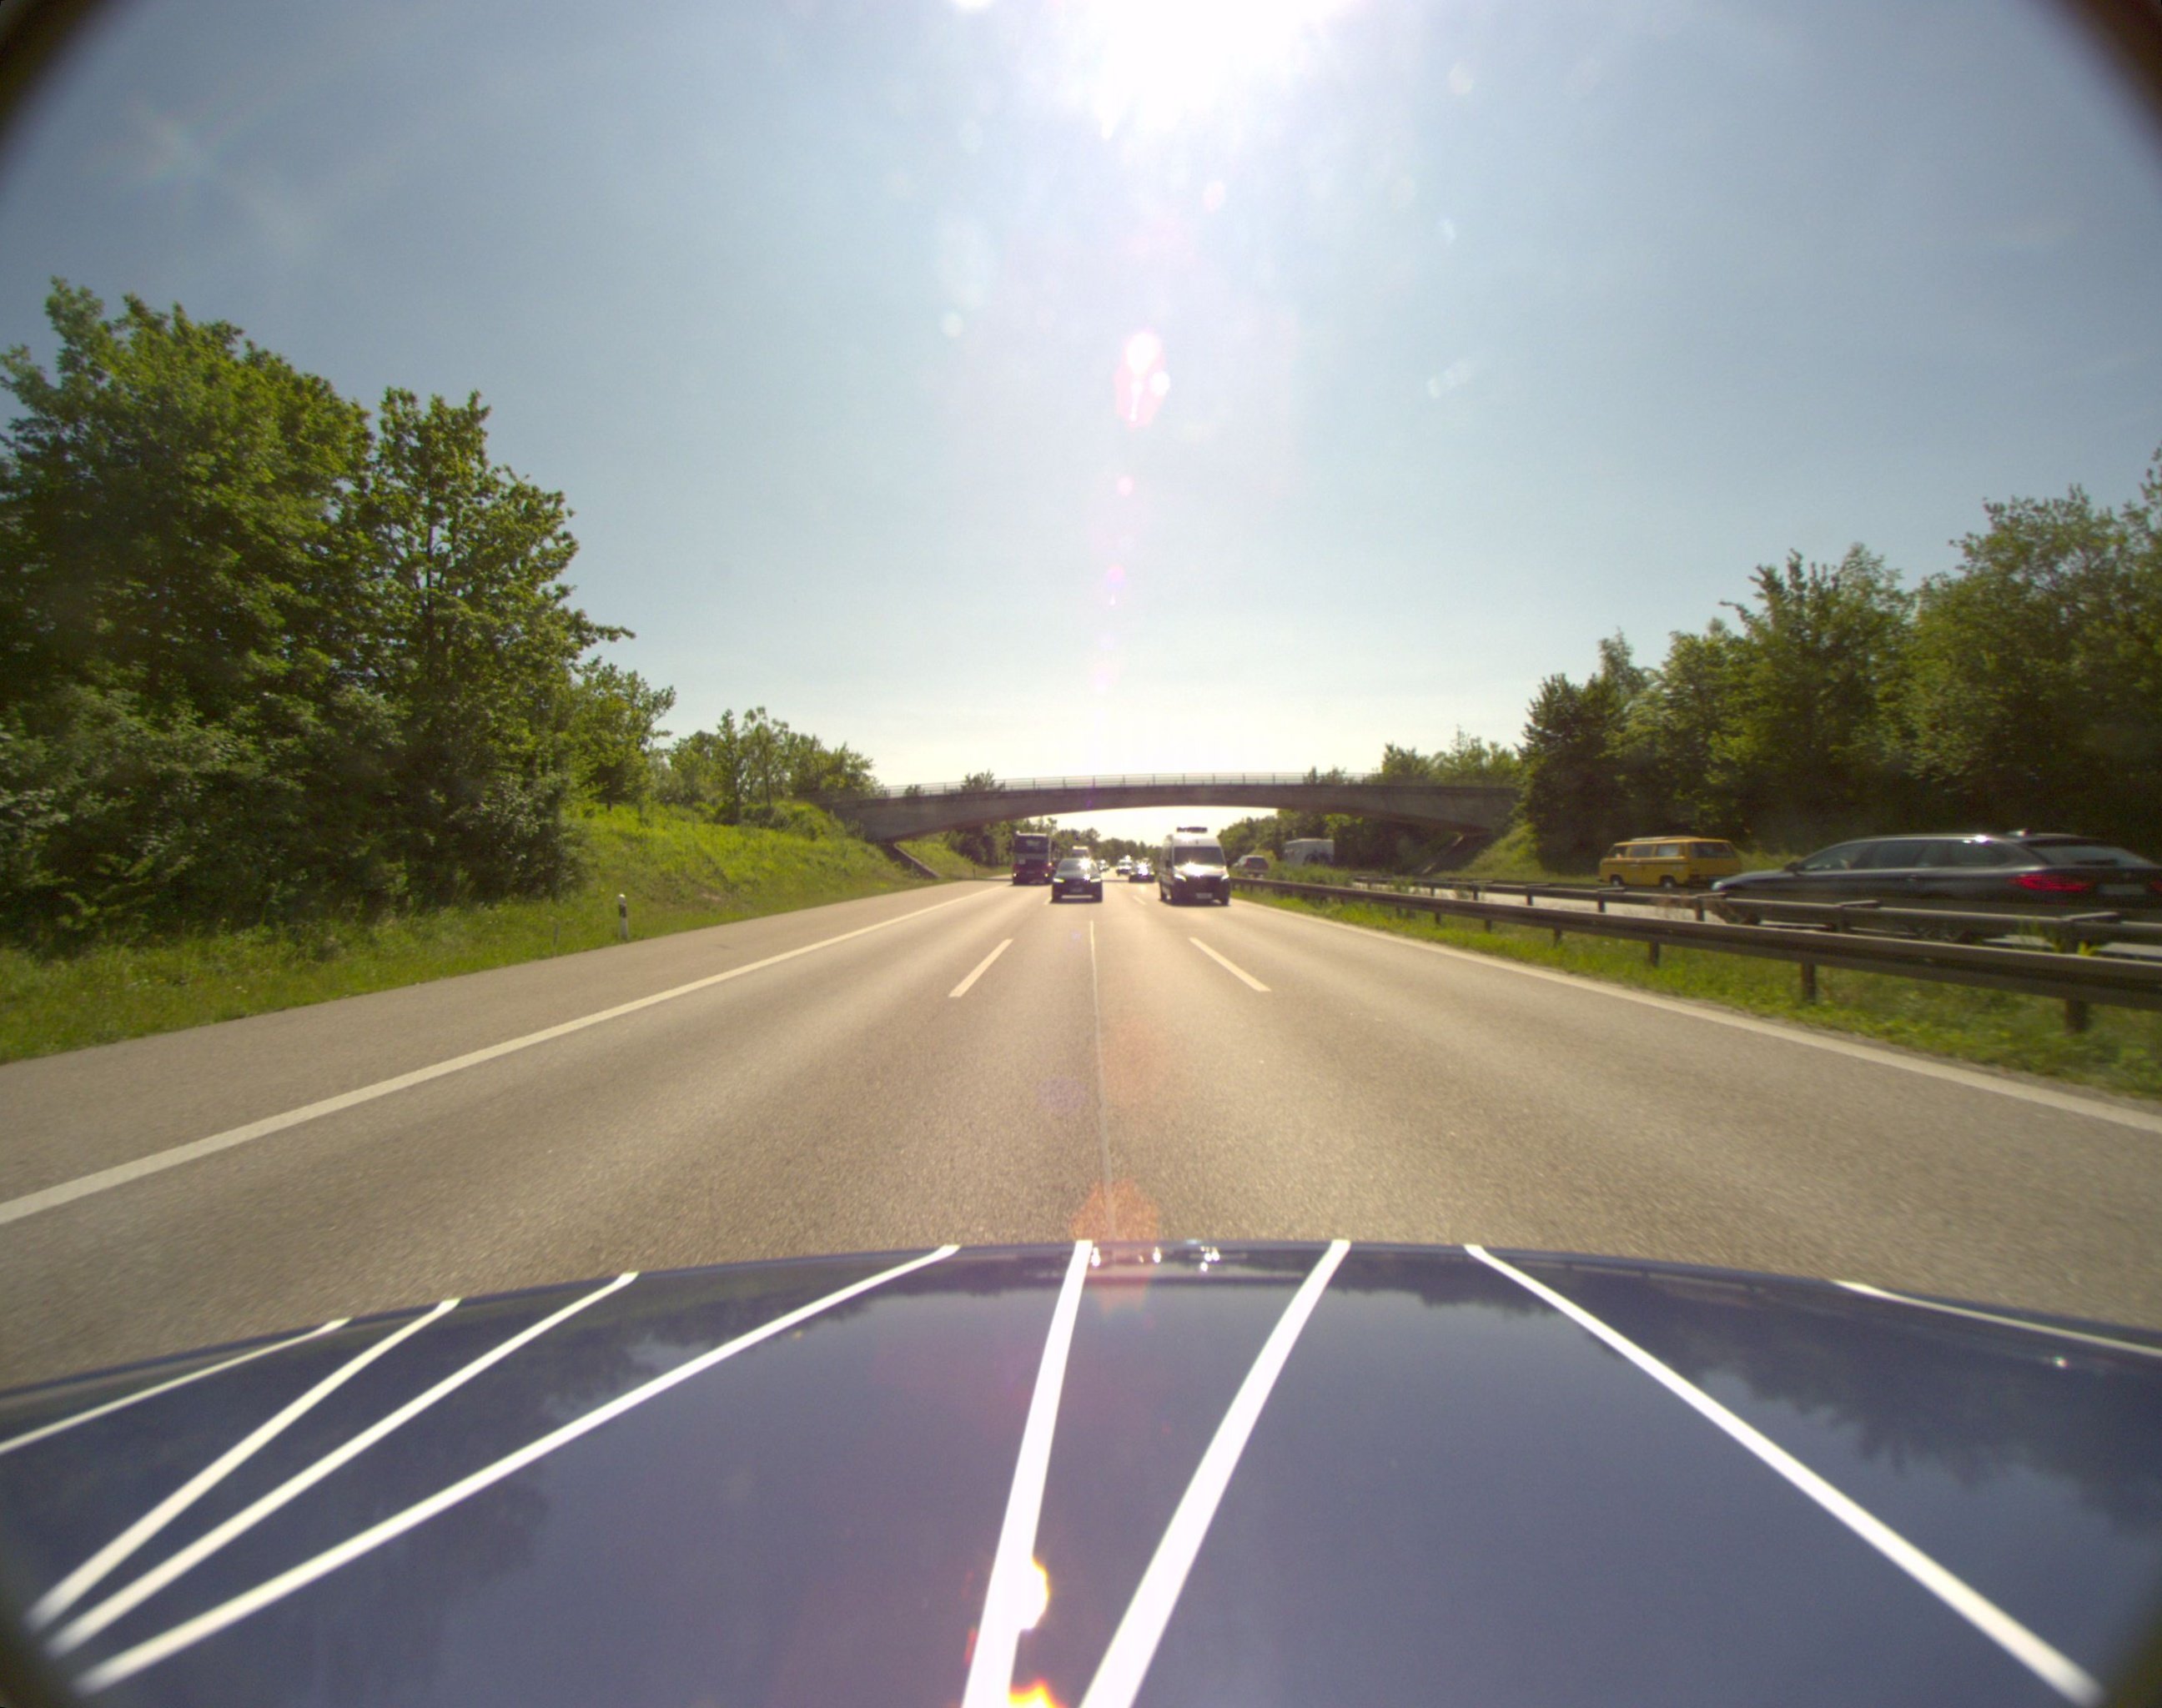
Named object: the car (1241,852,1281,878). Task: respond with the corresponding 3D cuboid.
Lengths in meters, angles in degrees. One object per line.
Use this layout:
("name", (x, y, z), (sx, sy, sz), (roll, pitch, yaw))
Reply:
("car", (12.643, 0.737, 53.560), (1.896, 1.608, 3.999), (-2, 1, 1))

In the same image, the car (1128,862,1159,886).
("car", (4.585, 1.478, 56.267), (1.904, 1.616, 4.241), (-3, 0, 1))

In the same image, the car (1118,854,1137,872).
("car", (5.024, 0.957, 82.821), (1.870, 1.713, 3.980), (-2, 1, 1))

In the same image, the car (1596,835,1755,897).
("car", (20.348, 0.376, 26.316), (1.911, 1.940, 4.653), (0, 0, 1))

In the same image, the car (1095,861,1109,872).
("car", (3.147, 1.827, 113.312), (1.742, 1.630, 3.846), (-1, 0, 6))

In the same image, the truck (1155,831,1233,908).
("truck", (4.100, 0.514, 28.743), (1.998, 2.527, 6.692), (-1, 0, 1))

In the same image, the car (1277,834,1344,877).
("car", (16.893, 0.122, 56.400), (2.553, 2.952, 6.996), (-1, 0, -3))

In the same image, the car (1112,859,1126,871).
("car", (5.392, 1.517, 107.827), (1.998, 1.540, 4.000), (-2, 1, 3))

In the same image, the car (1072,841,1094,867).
("car", (0.377, 0.010, 122.027), (3.202, 3.997, 8.127), (-1, 0, 1))

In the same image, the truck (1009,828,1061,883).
("truck", (-3.022, 0.087, 52.176), (2.965, 3.388, 8.048), (-1, 0, 0))

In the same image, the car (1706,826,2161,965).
("car", (11.715, 0.462, 10.730), (1.838, 1.513, 4.856), (0, 0, 1))

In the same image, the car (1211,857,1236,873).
("car", (15.555, 1.134, 83.149), (1.998, 1.659, 4.312), (-1, 0, 1))

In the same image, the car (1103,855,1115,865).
("car", (5.155, 1.096, 139.200), (1.998, 1.820, 4.394), (-1, 0, 1))

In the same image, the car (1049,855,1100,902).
("car", (-0.197, 0.892, 29.668), (1.812, 1.648, 4.000), (-1, 0, 1))
